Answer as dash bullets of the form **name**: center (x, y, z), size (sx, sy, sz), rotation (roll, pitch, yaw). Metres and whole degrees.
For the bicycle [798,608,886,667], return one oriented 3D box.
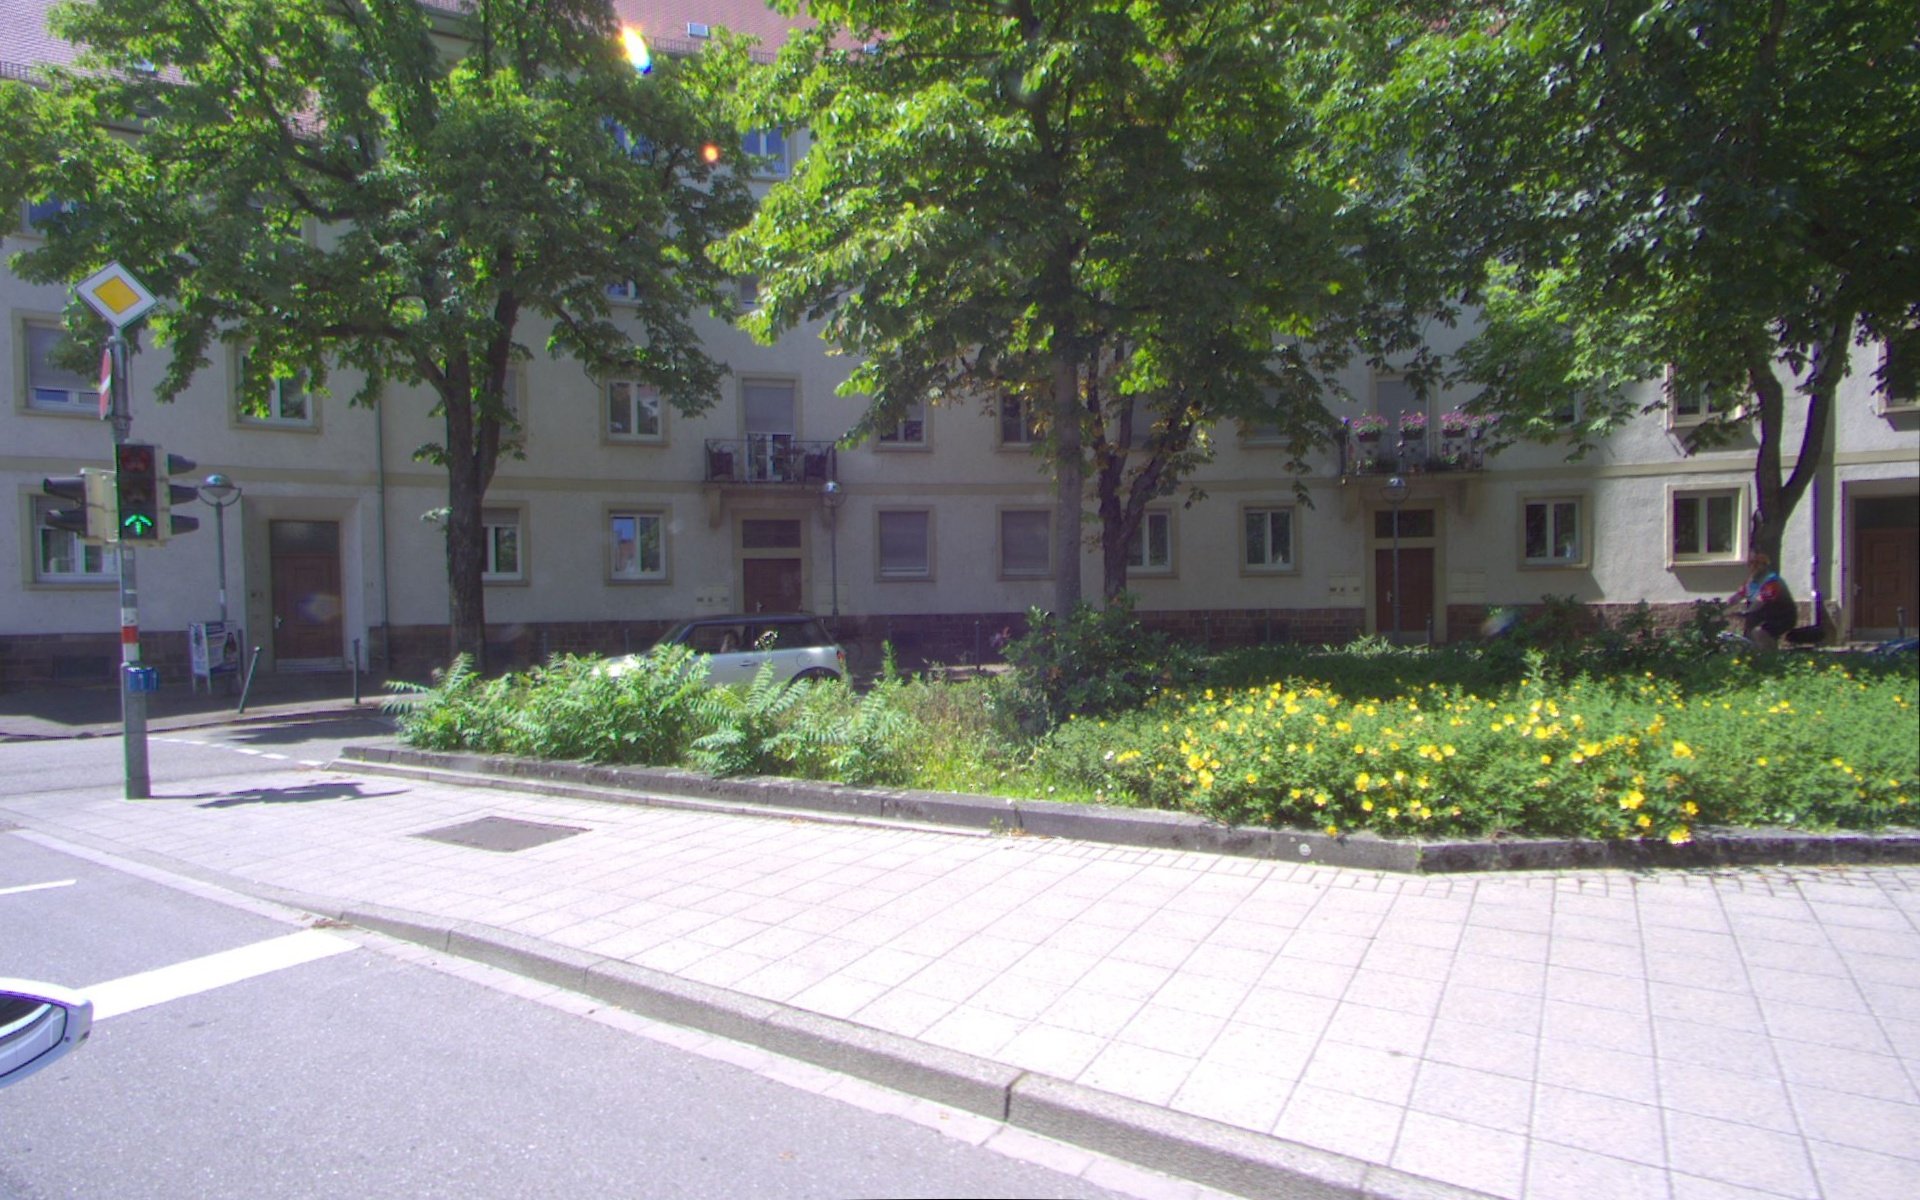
- **bicycle**: center (-2.432, 0.761, 20.764), size (1.769, 1.170, 0.640), rotation (-1, 1, -2)

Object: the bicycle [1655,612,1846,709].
- **bicycle**: center (10.024, 0.752, 12.763), size (1.771, 1.170, 0.680), rotation (-1, 0, 15)

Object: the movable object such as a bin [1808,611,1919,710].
- **movable object such as a bin**: center (11.745, 0.726, 12.358), size (1.732, 1.170, 0.867), rotation (-1, 0, 15)

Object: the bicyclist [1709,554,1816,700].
- **bicyclist**: center (10.175, 0.336, 12.721), size (0.849, 1.790, 0.698), rotation (-1, 1, 15)

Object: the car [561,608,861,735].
- **car**: center (-3.199, 0.858, 13.133), size (3.561, 1.465, 1.693), rotation (-1, 0, -15)
